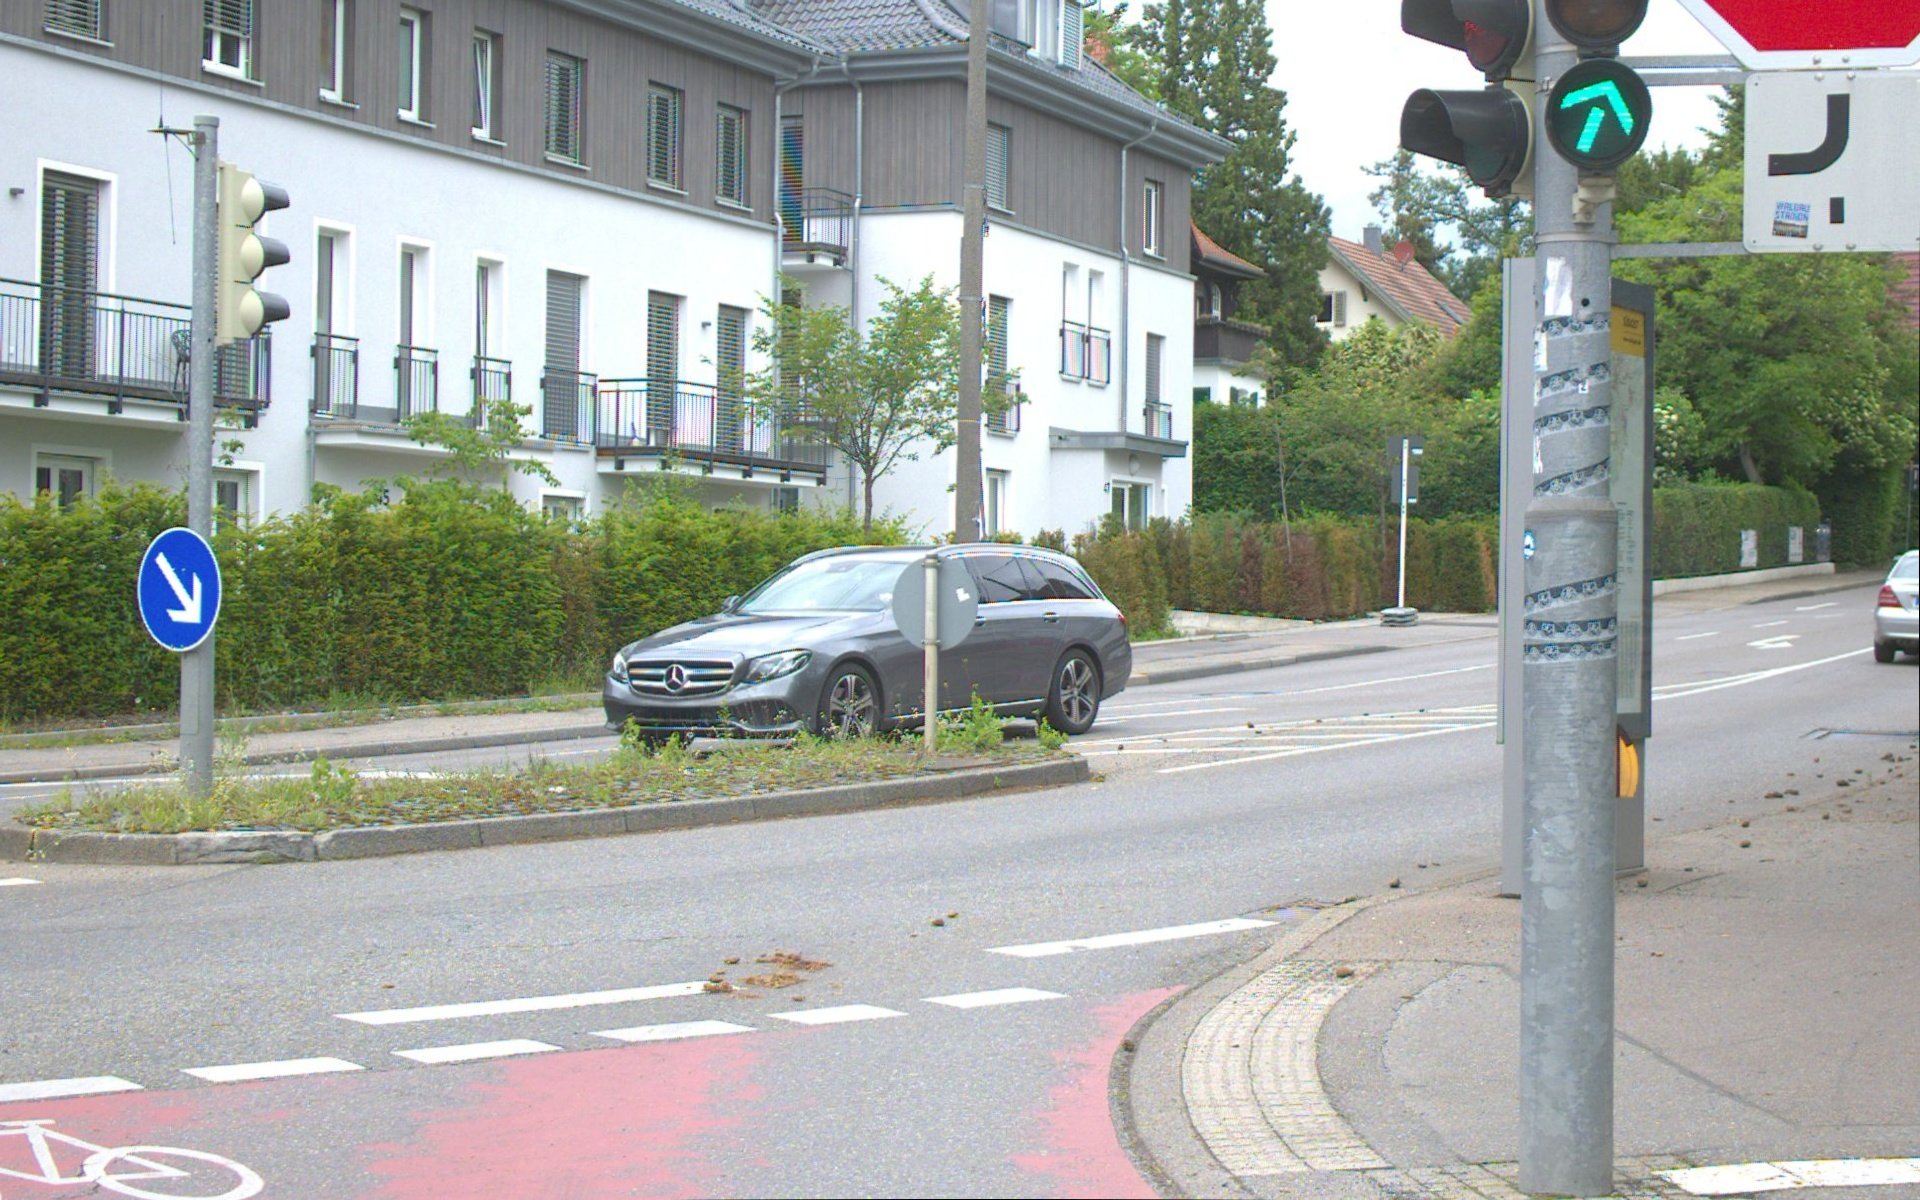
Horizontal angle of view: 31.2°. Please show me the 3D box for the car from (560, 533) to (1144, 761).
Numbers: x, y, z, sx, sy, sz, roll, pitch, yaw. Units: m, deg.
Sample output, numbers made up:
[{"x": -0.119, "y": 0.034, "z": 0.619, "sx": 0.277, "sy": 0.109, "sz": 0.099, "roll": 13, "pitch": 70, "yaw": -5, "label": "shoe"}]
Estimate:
[{"x": -0.673, "y": 0.276, "z": 25.329, "sx": 1.829, "sy": 1.480, "sz": 4.739, "roll": 0, "pitch": 1, "yaw": 35, "label": "car"}]

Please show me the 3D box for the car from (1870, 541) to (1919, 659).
[{"x": 12.641, "y": 0.002, "z": 43.108, "sx": 1.799, "sy": 1.410, "sz": 4.331, "roll": 1, "pitch": 0, "yaw": 23, "label": "car"}]
